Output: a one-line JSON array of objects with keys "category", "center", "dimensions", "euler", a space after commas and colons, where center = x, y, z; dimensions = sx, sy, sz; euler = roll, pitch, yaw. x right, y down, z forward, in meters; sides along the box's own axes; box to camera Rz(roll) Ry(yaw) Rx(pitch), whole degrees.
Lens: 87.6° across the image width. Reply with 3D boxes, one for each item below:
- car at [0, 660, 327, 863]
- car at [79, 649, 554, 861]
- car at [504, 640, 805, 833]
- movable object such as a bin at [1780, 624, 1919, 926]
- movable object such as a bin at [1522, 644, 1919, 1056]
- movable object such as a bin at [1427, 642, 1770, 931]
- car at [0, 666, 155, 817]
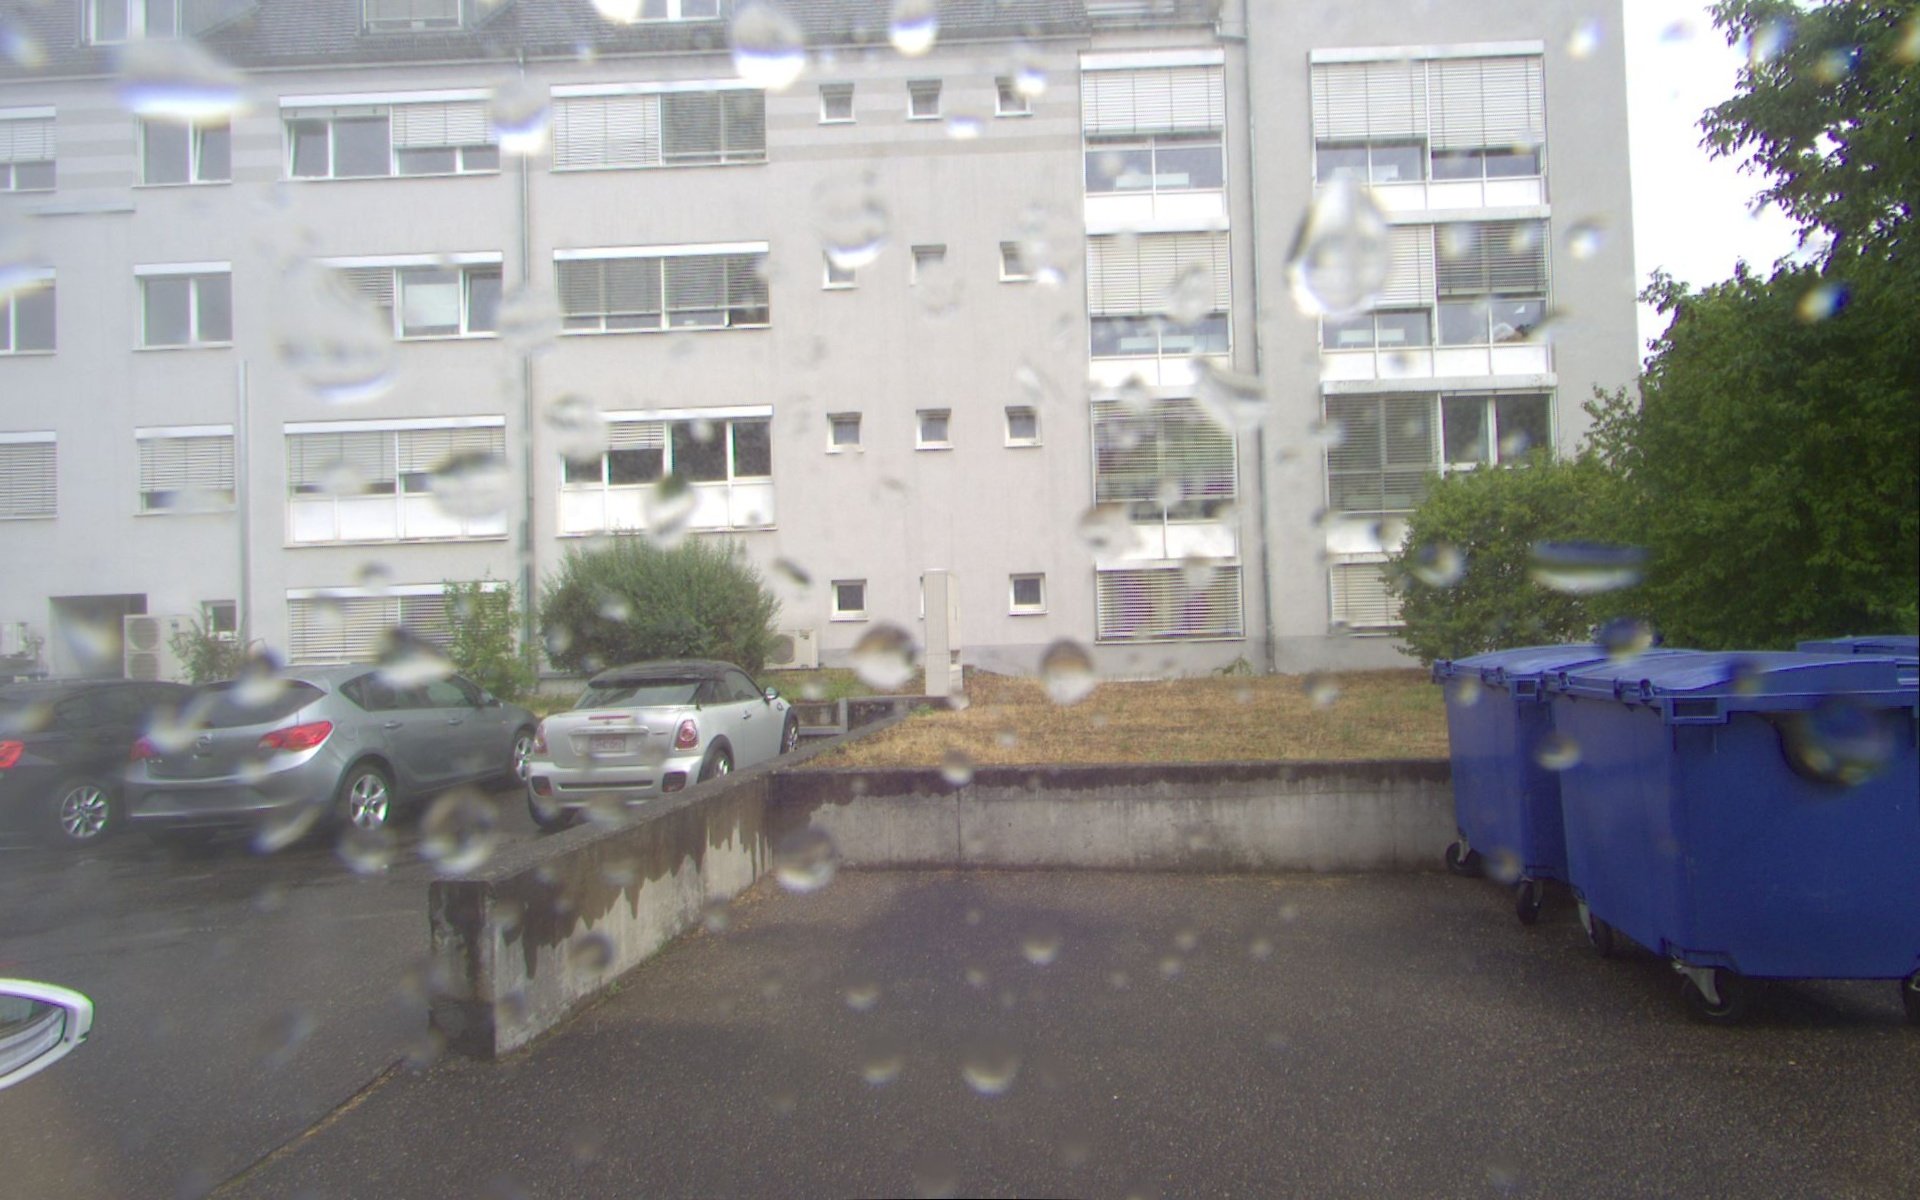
[{"category": "car", "center": [-8.336, 1.400, 9.702], "dimensions": [1.738, 1.421, 4.001], "euler": [-1, -1, 2]}, {"category": "car", "center": [-5.717, 1.281, 9.609], "dimensions": [1.771, 1.464, 4.001], "euler": [-2, -1, 4]}, {"category": "car", "center": [-2.766, 1.188, 9.874], "dimensions": [1.655, 1.445, 3.427], "euler": [-2, -1, 5]}, {"category": "movable object such as a bin", "center": [4.951, 0.790, 4.709], "dimensions": [1.174, 1.353, 1.297], "euler": [-1, -1, 9]}, {"category": "movable object such as a bin", "center": [3.123, 0.864, 4.004], "dimensions": [1.062, 1.321, 1.376], "euler": [-2, -1, 9]}, {"category": "movable object such as a bin", "center": [3.266, 0.907, 5.301], "dimensions": [1.085, 1.321, 1.189], "euler": [-2, -1, 8]}, {"category": "car", "center": [-10.736, 1.512, 10.208], "dimensions": [1.738, 1.477, 4.002], "euler": [-2, -2, 2]}]
